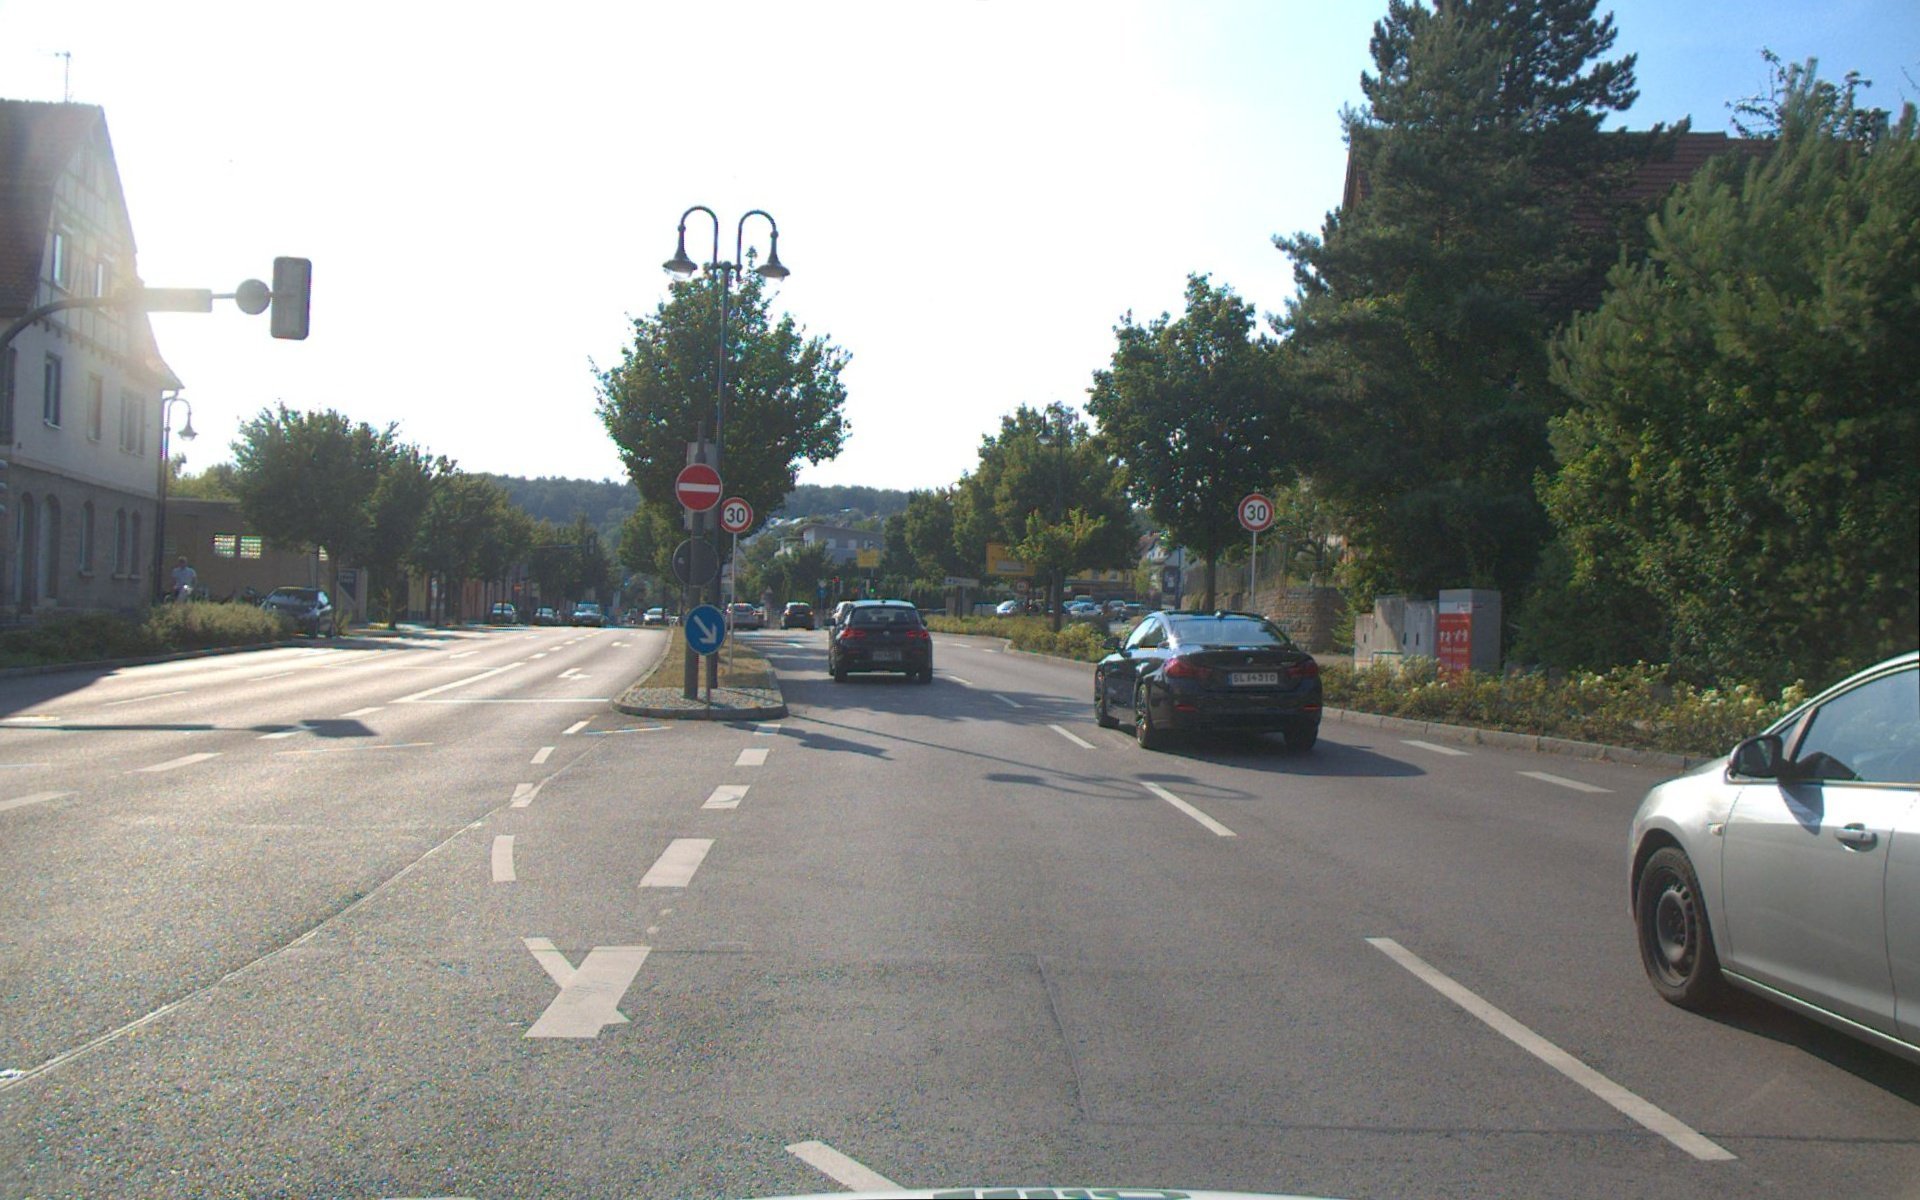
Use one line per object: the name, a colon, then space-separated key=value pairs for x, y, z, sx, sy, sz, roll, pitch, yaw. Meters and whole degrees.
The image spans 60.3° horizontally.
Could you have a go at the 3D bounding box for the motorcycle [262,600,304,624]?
motorcycle: x=-30.234 y=0.530 z=73.851 sx=0.505 sy=1.088 sz=1.868 roll=0 pitch=0 yaw=26

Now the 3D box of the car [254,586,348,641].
car: x=-20.065 y=0.405 z=50.530 sx=1.724 sy=1.479 sz=4.123 roll=5 pitch=-1 yaw=-10

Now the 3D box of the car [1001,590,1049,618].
car: x=5.106 y=0.321 z=129.541 sx=2.096 sy=2.167 sz=5.123 roll=1 pitch=0 yaw=23

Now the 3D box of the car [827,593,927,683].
car: x=-1.532 y=0.652 z=30.647 sx=1.687 sy=1.516 sz=4.350 roll=1 pitch=0 yaw=-3

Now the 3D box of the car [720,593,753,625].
car: x=-12.948 y=0.509 z=95.862 sx=1.724 sy=1.800 sz=3.961 roll=1 pitch=0 yaw=-10

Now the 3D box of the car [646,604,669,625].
car: x=-24.767 y=1.198 z=135.424 sx=1.698 sy=1.708 sz=3.992 roll=1 pitch=0 yaw=-9

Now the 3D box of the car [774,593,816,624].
car: x=-10.127 y=0.504 z=101.289 sx=2.177 sy=1.800 sz=4.443 roll=1 pitch=0 yaw=-10

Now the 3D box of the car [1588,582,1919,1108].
car: x=3.616 y=0.709 z=5.118 sx=1.686 sy=1.516 sz=4.306 roll=0 pitch=0 yaw=0

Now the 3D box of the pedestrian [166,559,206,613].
pedestrian: x=-20.583 y=-0.381 z=43.973 sx=0.798 sy=1.418 sz=0.705 roll=1 pitch=0 yaw=-11

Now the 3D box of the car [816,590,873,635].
car: x=-4.835 y=0.489 z=68.540 sx=1.890 sy=1.800 sz=4.443 roll=1 pitch=0 yaw=-10

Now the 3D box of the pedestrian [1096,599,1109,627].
pedestrian: x=8.774 y=0.797 z=101.529 sx=0.681 sy=1.732 sz=0.949 roll=1 pitch=0 yaw=-2

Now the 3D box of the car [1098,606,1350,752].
car: x=2.704 y=0.773 z=17.960 sx=1.882 sy=1.388 sz=4.350 roll=0 pitch=0 yaw=-3

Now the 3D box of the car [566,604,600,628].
car: x=-22.759 y=0.944 z=99.969 sx=1.724 sy=1.385 sz=4.474 roll=1 pitch=0 yaw=-10

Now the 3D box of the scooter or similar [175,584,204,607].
scooter or similar: x=-20.065 y=-0.115 z=43.067 sx=0.435 sy=0.592 sz=1.041 roll=1 pitch=0 yaw=-11
